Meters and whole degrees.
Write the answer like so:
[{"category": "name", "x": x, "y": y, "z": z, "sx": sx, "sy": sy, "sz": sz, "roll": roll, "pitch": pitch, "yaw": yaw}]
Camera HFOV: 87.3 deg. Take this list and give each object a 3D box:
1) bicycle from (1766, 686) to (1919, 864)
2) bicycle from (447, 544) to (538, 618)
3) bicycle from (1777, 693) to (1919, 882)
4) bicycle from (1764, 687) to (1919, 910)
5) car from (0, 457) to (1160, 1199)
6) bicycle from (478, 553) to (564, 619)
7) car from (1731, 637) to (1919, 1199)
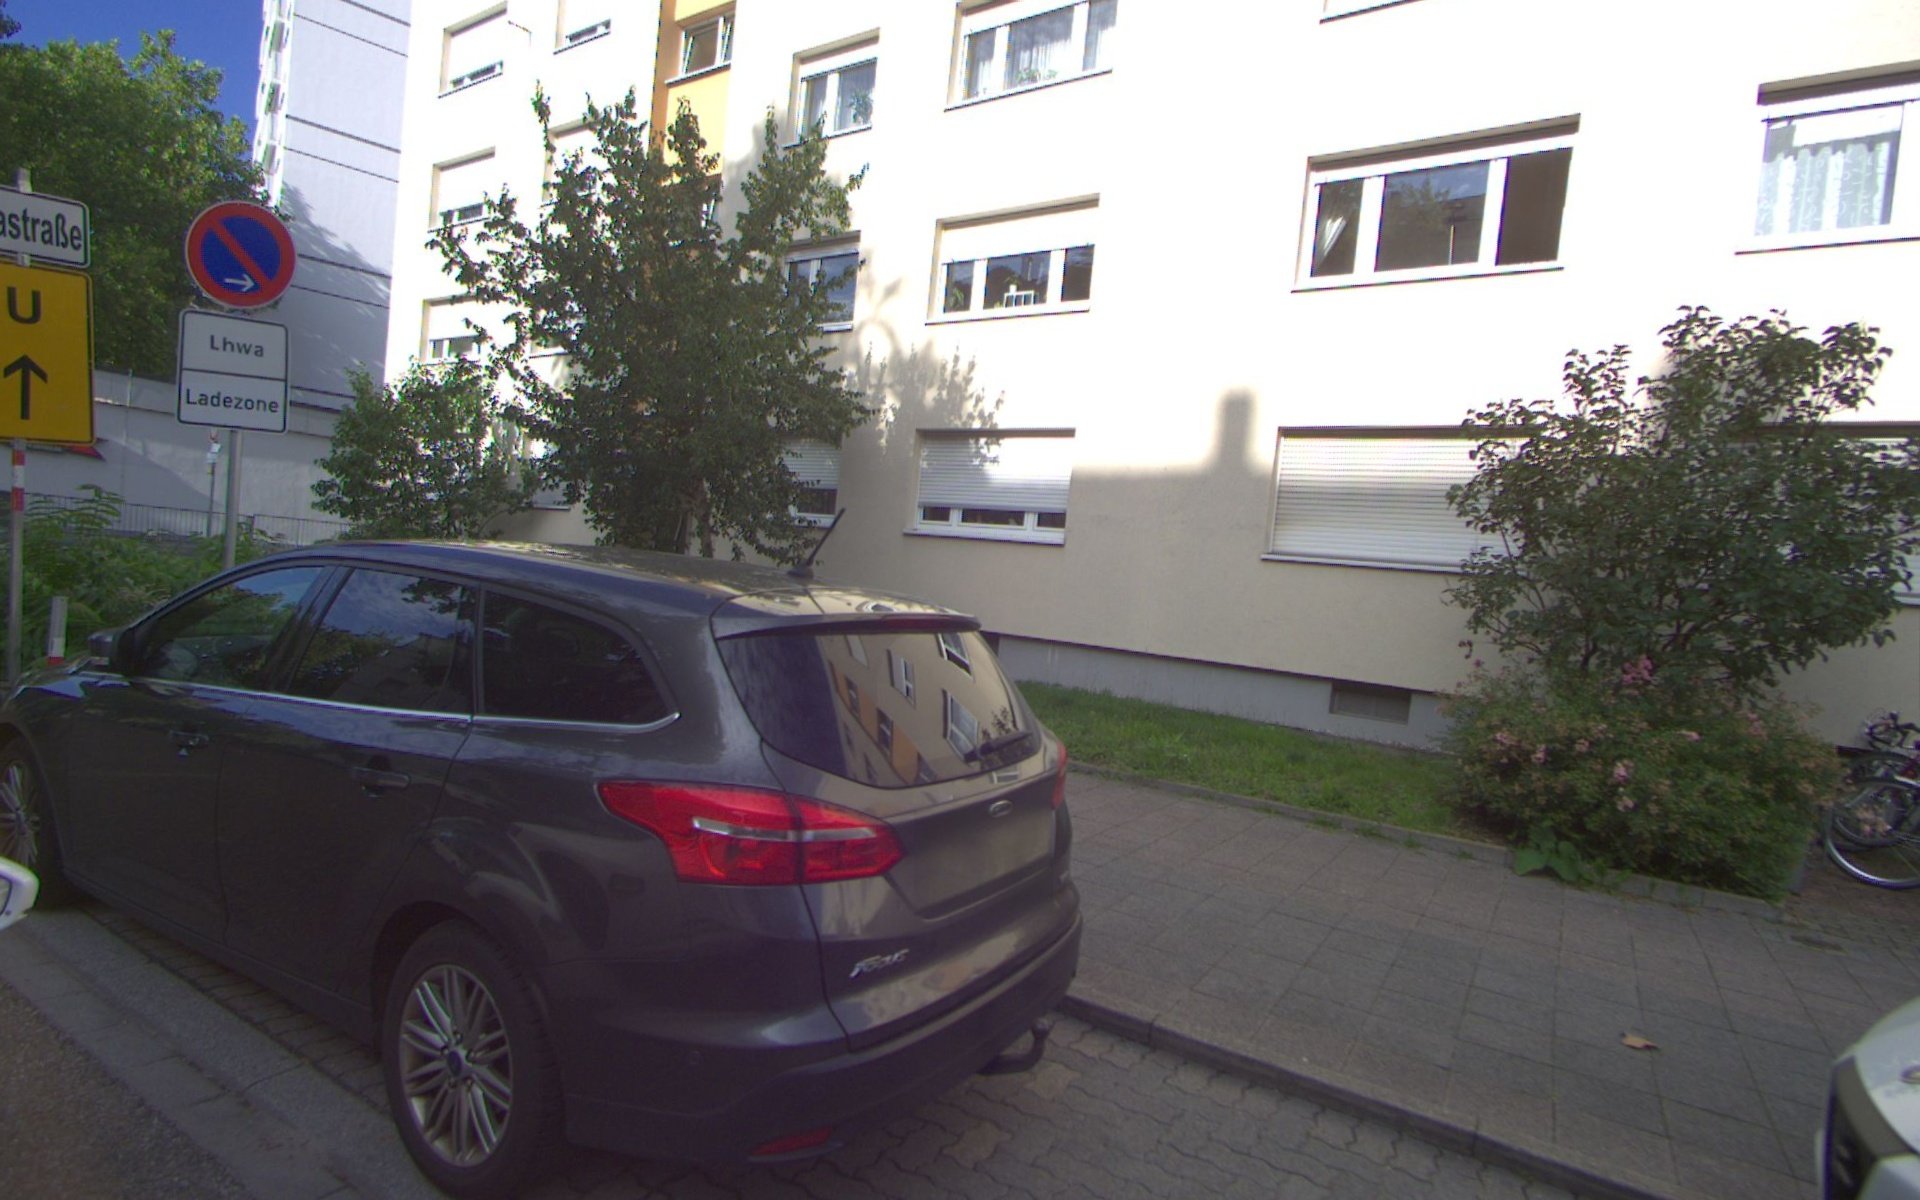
[{"category": "bicycle", "x": 7.223, "y": 1.339, "z": 7.150, "sx": 2.172, "sy": 1.130, "sz": 0.529, "roll": 7, "pitch": 3, "yaw": 32}, {"category": "bicycle", "x": -7.883, "y": -0.324, "z": 16.940, "sx": 1.526, "sy": 1.069, "sz": 0.522, "roll": 7, "pitch": 2, "yaw": 29}, {"category": "bicycle", "x": 6.893, "y": 1.346, "z": 6.624, "sx": 2.172, "sy": 1.130, "sz": 0.597, "roll": 7, "pitch": 4, "yaw": 32}, {"category": "bicycle", "x": 6.316, "y": 1.298, "z": 6.016, "sx": 2.172, "sy": 1.204, "sz": 0.596, "roll": 7, "pitch": 5, "yaw": 32}, {"category": "car", "x": -1.651, "y": 0.450, "z": 3.494, "sx": 4.166, "sy": 1.549, "sz": 1.691, "roll": 7, "pitch": 2, "yaw": 30}, {"category": "bicycle", "x": -7.611, "y": -0.251, "z": 17.420, "sx": 1.526, "sy": 0.976, "sz": 0.478, "roll": 7, "pitch": 2, "yaw": 29}, {"category": "car", "x": 3.151, "y": 1.035, "z": 0.509, "sx": 4.169, "sy": 1.548, "sz": 1.689, "roll": 7, "pitch": 2, "yaw": 34}]
